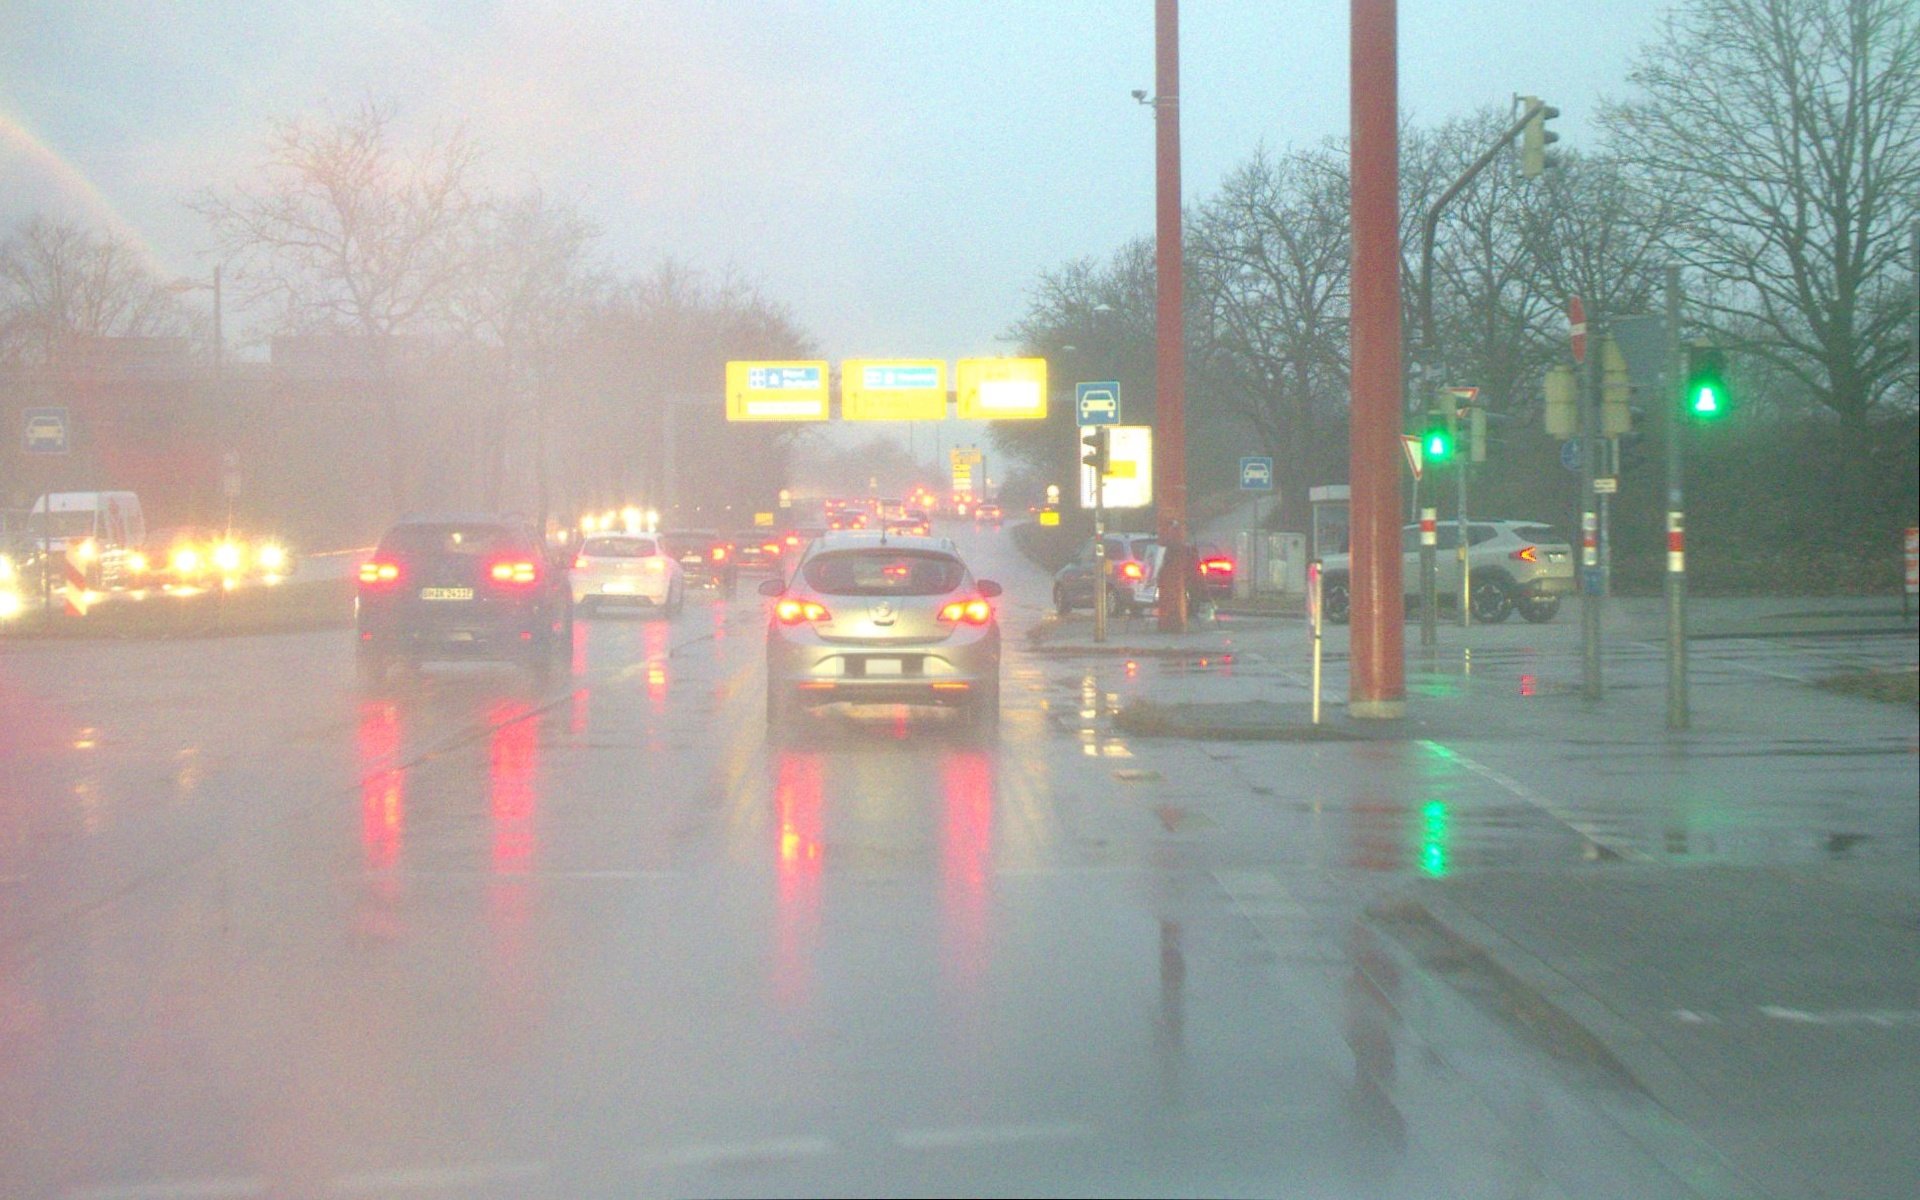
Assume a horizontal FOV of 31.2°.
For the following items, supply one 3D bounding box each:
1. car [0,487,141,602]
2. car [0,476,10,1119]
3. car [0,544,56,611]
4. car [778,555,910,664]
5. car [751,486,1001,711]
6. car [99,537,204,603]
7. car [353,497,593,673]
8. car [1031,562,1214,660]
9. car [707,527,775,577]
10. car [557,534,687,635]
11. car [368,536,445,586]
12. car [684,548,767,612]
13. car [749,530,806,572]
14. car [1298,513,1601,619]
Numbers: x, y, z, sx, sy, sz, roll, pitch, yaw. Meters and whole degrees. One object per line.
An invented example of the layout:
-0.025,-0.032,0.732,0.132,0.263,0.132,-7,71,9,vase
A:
-24.468,-1.496,93.955,2.292,2.994,7.347,1,1,1,car
-3.363,0.548,6.620,1.822,1.642,4.467,0,1,0,car
-23.178,-0.558,82.508,1.770,1.531,4.446,0,1,0,car
-1.826,0.132,55.343,1.993,1.656,4.000,1,1,0,car
-0.618,-0.064,27.511,1.822,1.642,4.467,-1,1,0,car
-20.368,-0.769,86.763,1.770,1.581,4.034,0,1,-1,car
-4.781,-0.175,34.262,1.822,1.642,4.000,0,1,0,car
2.869,0.177,61.634,1.933,1.642,4.468,1,1,-16,car
-6.661,-1.479,105.095,1.822,1.499,4.000,0,1,0,car
-5.709,-0.289,58.486,1.822,1.642,4.000,0,1,0,car
-17.811,-1.267,110.815,1.770,1.531,4.841,0,1,-1,car
-5.049,-0.455,74.341,1.505,1.334,4.000,0,1,0,car
-7.114,-1.898,134.096,1.993,1.571,4.000,1,1,0,car
7.717,-0.547,54.372,4.405,1.612,1.818,0,1,36,car
